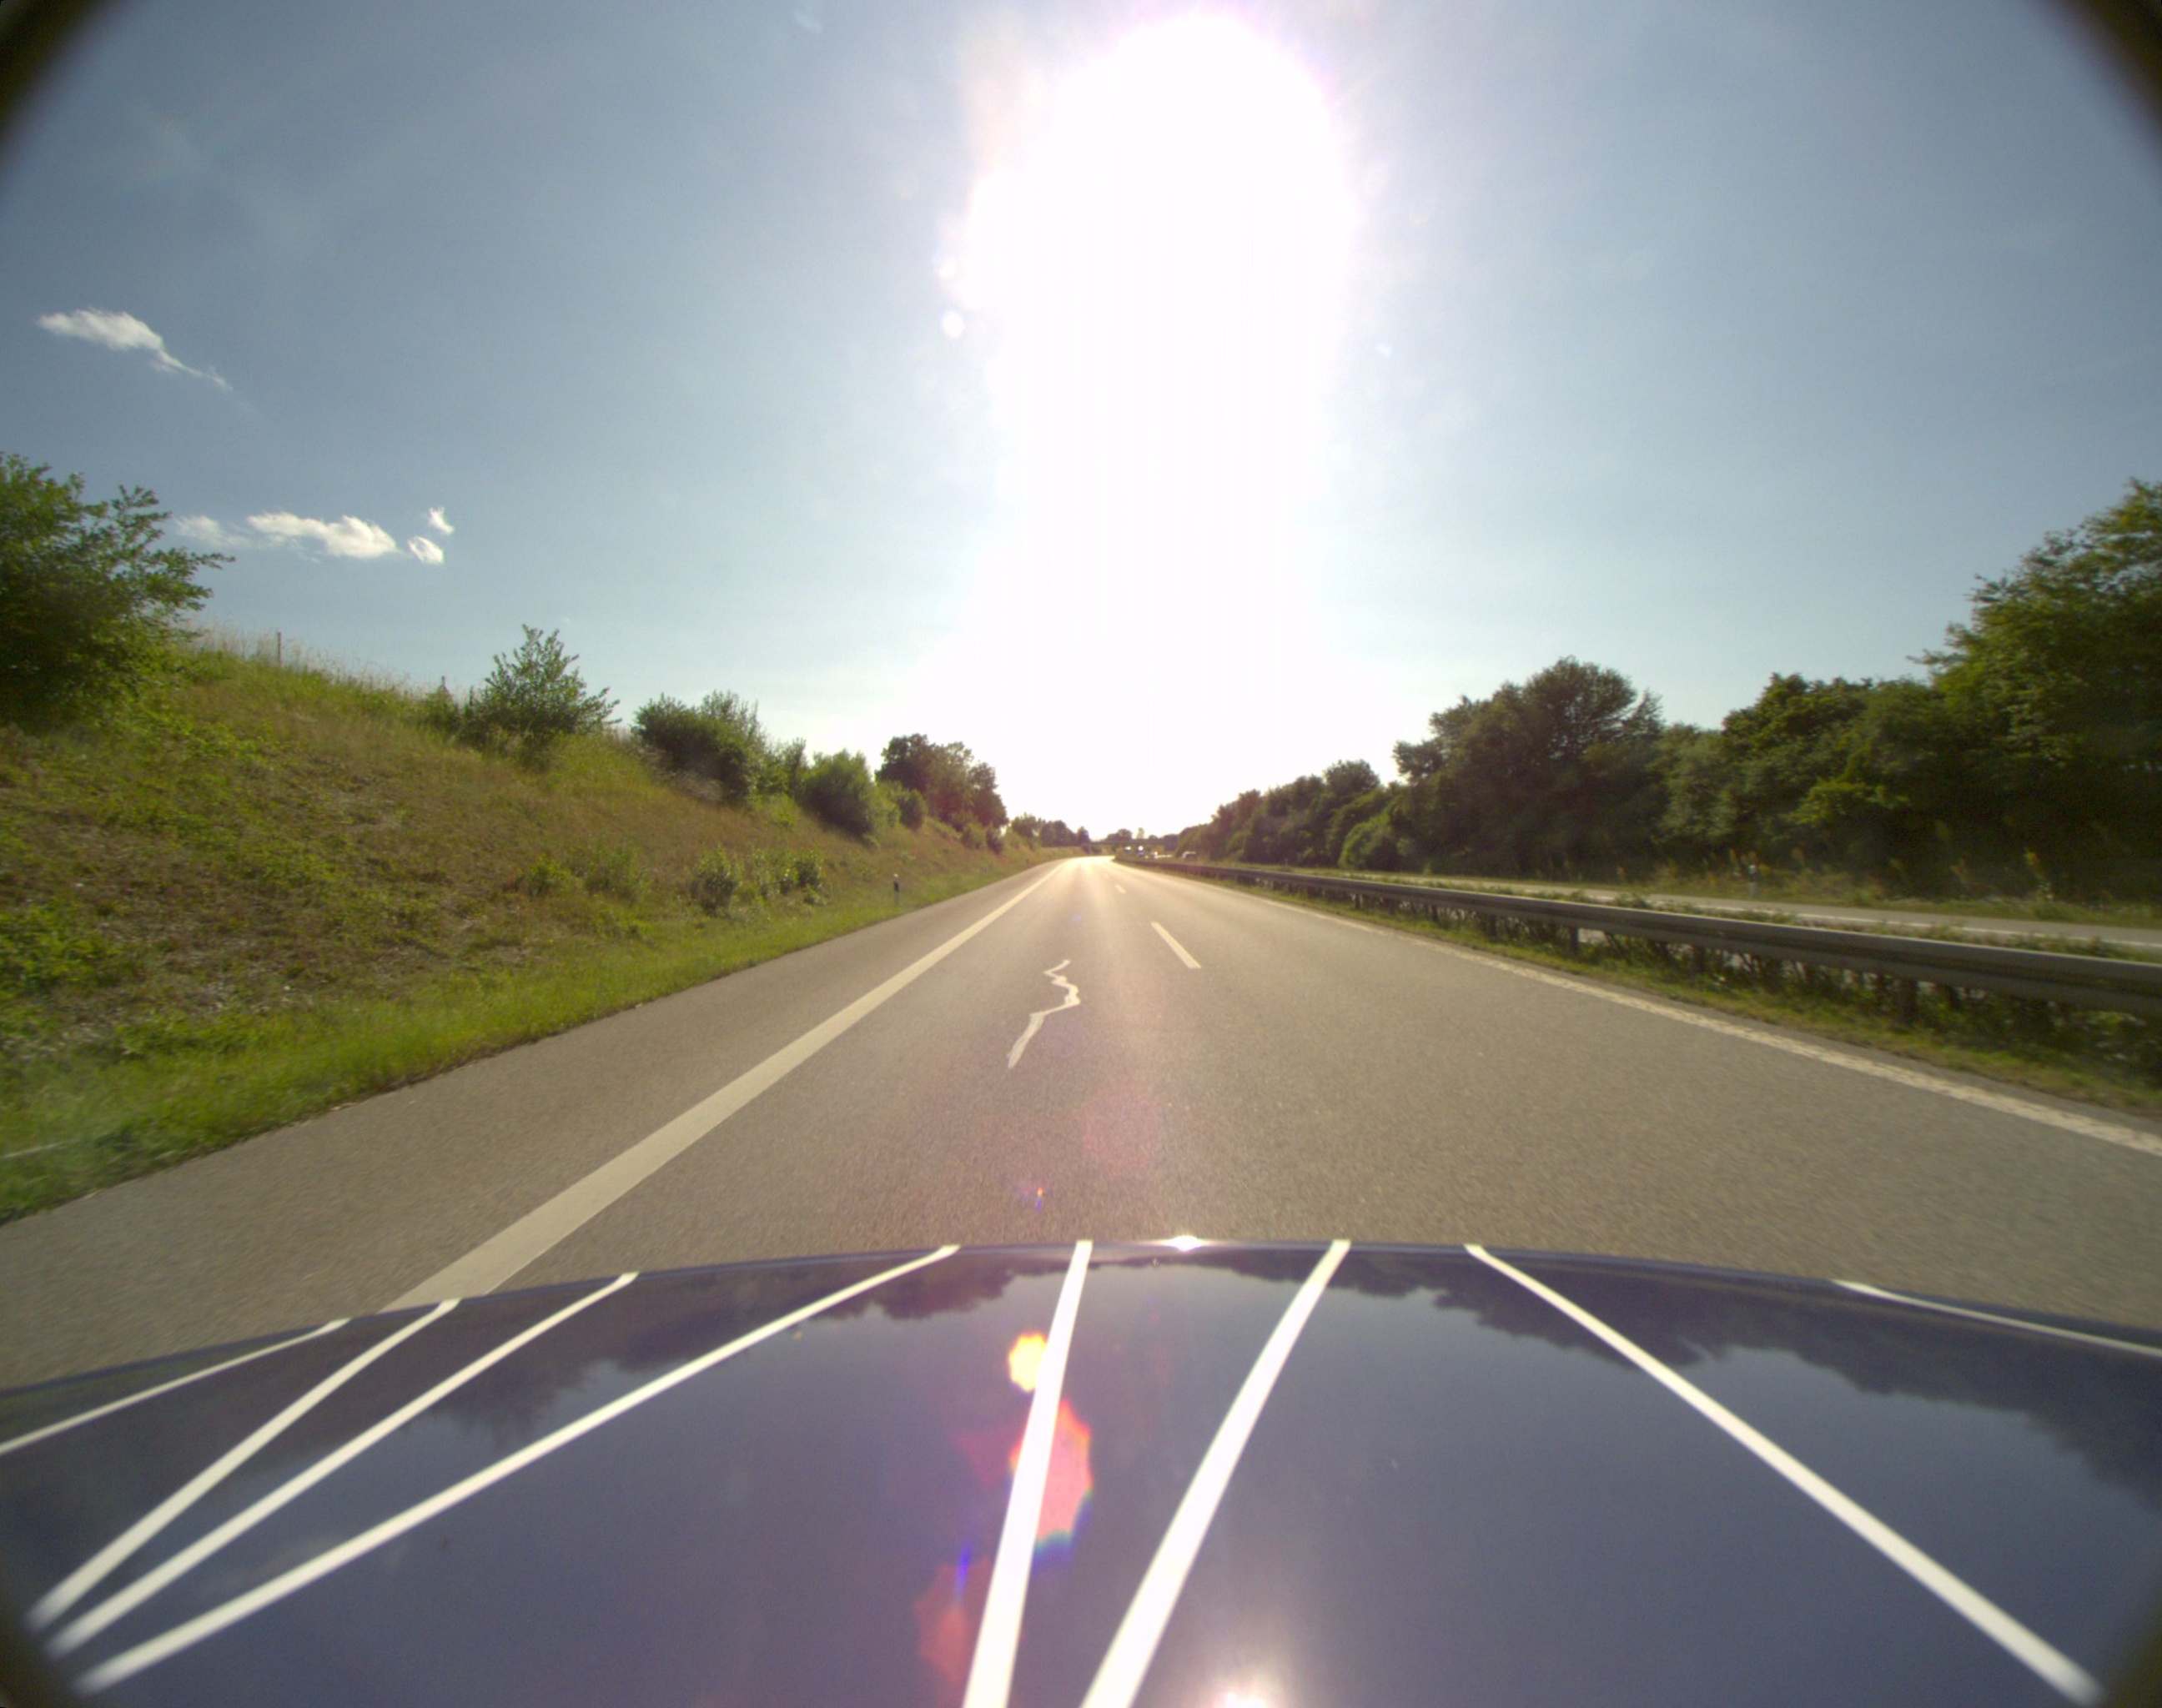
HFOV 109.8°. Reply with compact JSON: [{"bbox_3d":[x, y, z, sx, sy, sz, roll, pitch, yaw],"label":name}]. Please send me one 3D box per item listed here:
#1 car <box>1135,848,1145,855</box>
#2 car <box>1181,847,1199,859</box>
[{"bbox_3d":[12.551,-0.583,161.057,1.772,1.486,4.228,2,1,0],"label":"car"},{"bbox_3d":[14.500,-0.195,101.332,1.772,1.575,4.791,-1,1,0],"label":"car"}]
